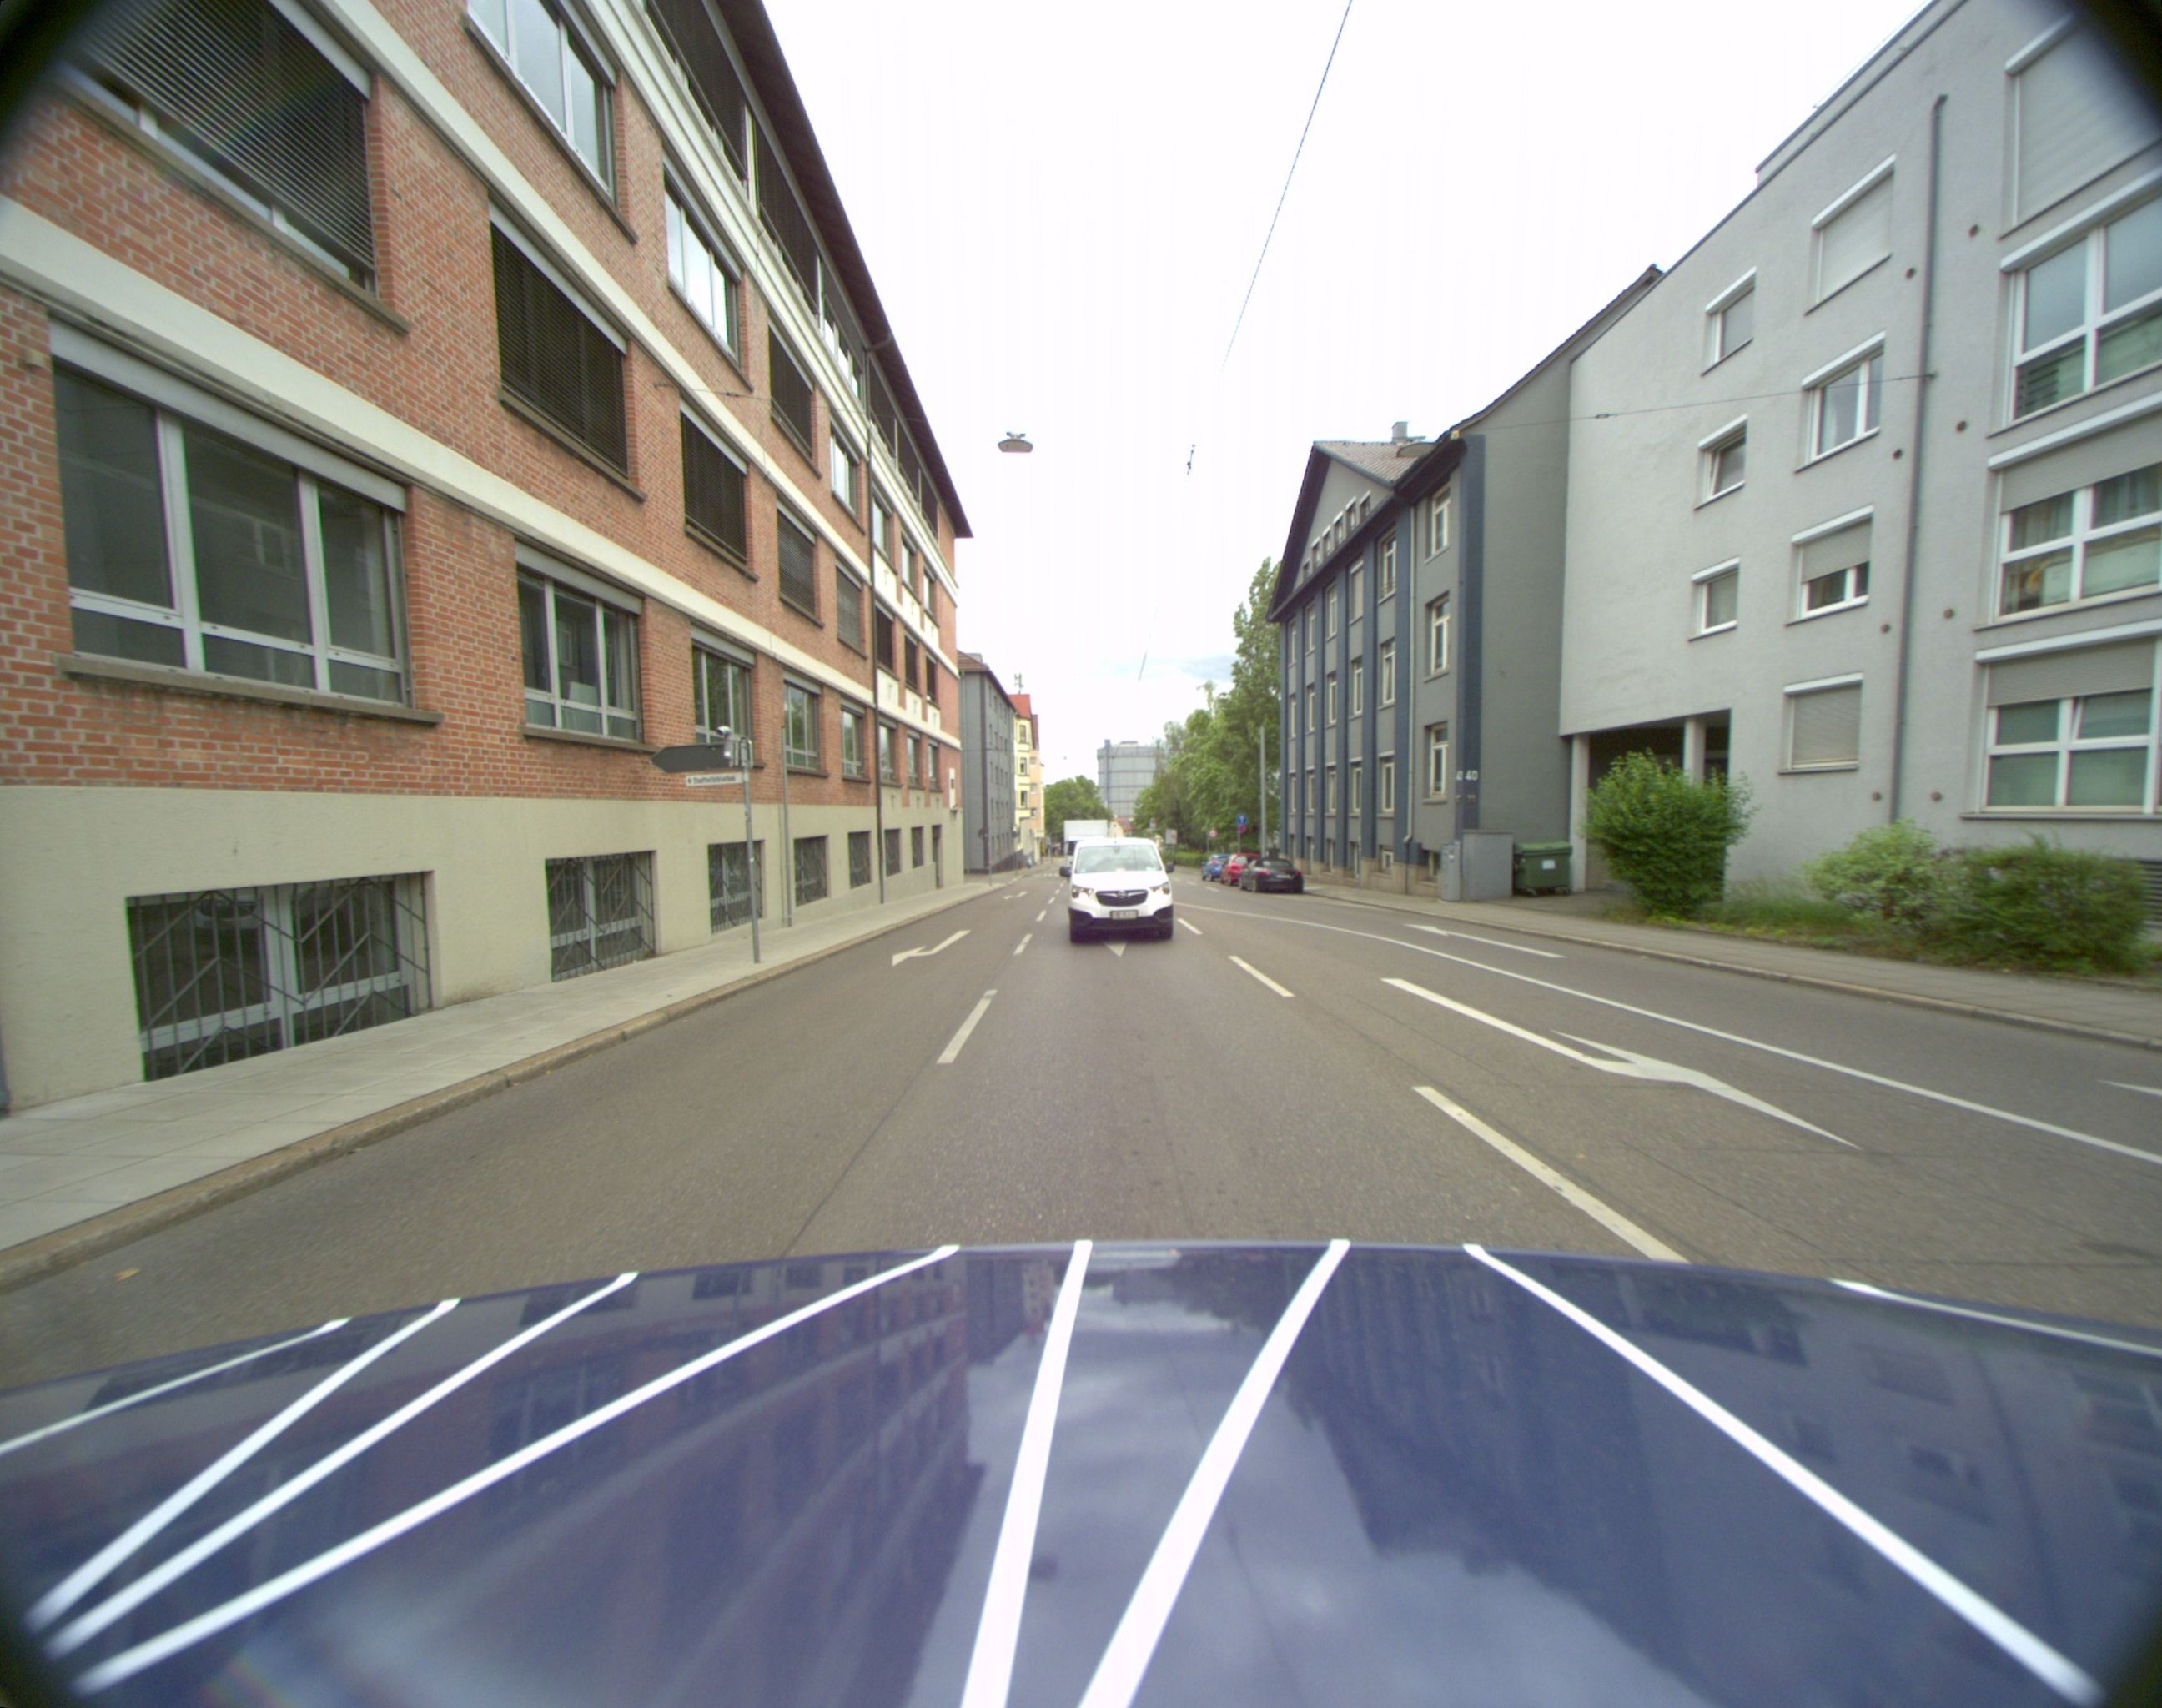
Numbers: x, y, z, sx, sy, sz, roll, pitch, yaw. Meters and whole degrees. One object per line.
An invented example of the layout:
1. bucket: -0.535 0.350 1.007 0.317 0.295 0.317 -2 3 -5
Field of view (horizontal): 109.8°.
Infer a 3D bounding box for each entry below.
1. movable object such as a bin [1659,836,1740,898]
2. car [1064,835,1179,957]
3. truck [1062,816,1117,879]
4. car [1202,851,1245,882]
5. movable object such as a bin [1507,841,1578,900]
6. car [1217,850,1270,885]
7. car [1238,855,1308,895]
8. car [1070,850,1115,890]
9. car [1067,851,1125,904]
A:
1. movable object such as a bin: 14.821 0.299 18.234 1.039 1.408 1.078 -2 1 0
2. car: 0.669 0.634 14.052 1.739 1.876 3.999 -2 1 1
3. truck: 0.520 -0.430 46.957 2.969 3.409 8.878 -2 1 1
4. car: 7.598 0.638 40.827 1.644 1.441 3.728 -2 1 1
5. movable object such as a bin: 12.231 0.425 20.189 1.229 1.498 1.040 -2 1 1
6. car: 7.506 0.599 35.330 1.644 1.441 3.728 -2 1 1
7. car: 7.340 0.753 29.424 1.801 1.384 3.728 -1 1 1
8. car: 0.484 0.622 32.627 1.739 1.520 3.999 -2 1 1
9. car: 0.491 0.703 25.306 1.739 1.520 3.999 -2 1 1
